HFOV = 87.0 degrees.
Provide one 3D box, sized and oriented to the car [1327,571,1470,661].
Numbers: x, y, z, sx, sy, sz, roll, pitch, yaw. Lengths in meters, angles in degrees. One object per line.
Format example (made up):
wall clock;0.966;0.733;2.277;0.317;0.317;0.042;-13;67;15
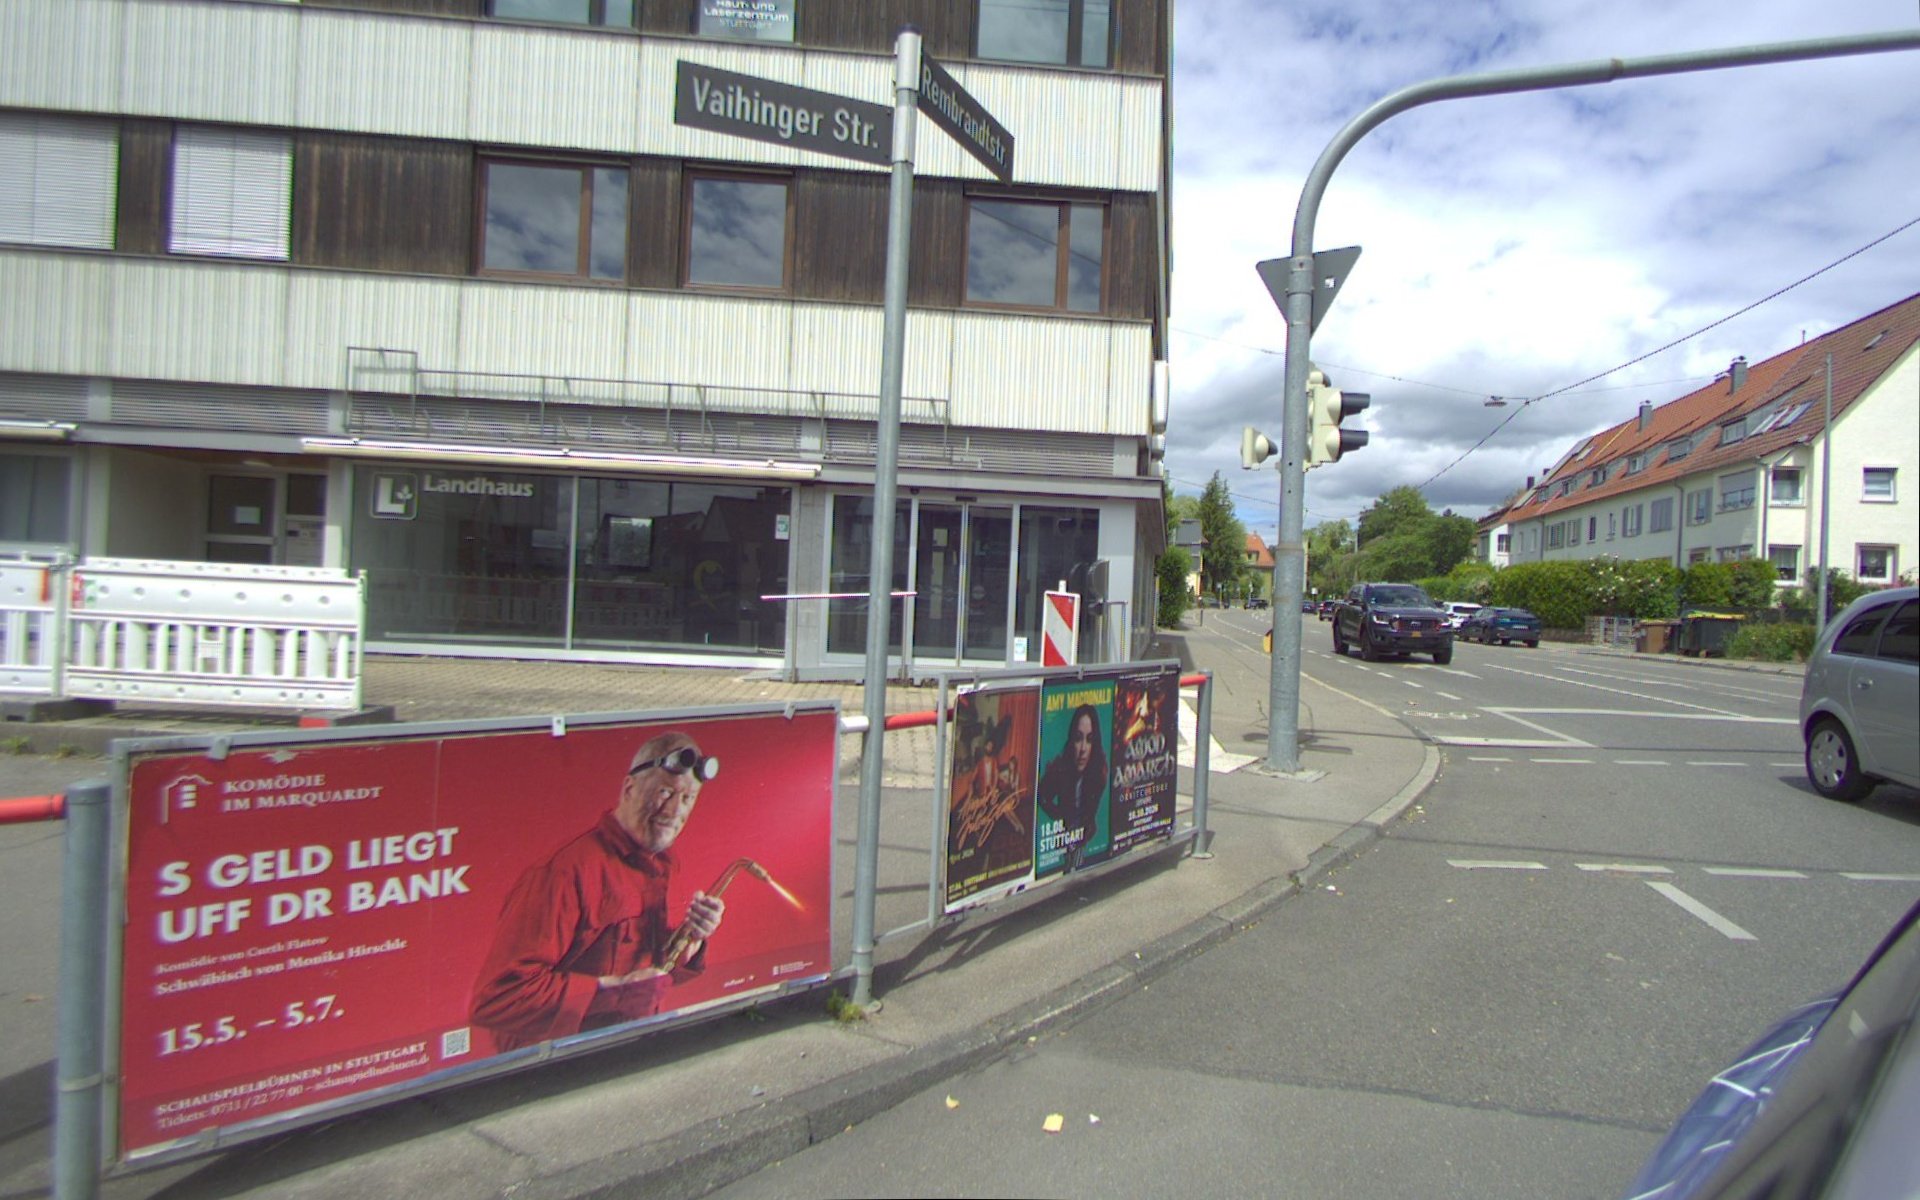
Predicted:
car;10.374;0.315;24.392;1.857;1.872;5.207;2;1;9

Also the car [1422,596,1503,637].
car;22.059;0.666;44.597;1.968;1.653;4.439;2;1;10

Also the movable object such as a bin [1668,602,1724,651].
movable object such as a bin;23.032;0.824;31.694;1.075;1.465;0.977;1;0;11

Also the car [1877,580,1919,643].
car;33.298;0.418;33.403;3.937;2.039;1.993;1;0;11

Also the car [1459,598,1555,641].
car;21.192;0.717;39.433;1.789;1.520;4.443;1;1;8

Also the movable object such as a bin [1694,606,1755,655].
movable object such as a bin;22.814;0.904;30.220;1.075;1.379;0.977;1;0;11

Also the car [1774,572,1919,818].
car;7.009;0.639;5.940;1.747;1.595;3.989;1;1;11

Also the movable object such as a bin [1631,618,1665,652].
movable object such as a bin;22.840;1.154;33.599;0.754;1.079;0.688;1;0;18

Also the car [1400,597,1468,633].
car;23.157;0.692;49.642;1.968;1.653;4.223;2;1;10

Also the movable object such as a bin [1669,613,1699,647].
movable object such as a bin;23.311;0.959;32.590;0.643;1.079;0.524;1;0;-28

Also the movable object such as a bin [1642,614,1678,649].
movable object such as a bin;22.727;1.028;32.869;0.754;1.079;0.688;1;0;18

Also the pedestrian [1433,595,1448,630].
pedestrian;25.553;0.681;53.789;0.524;1.838;0.511;1;0;6

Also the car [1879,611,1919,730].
car;11.706;0.851;10.762;1.798;1.381;4.006;2;1;27
